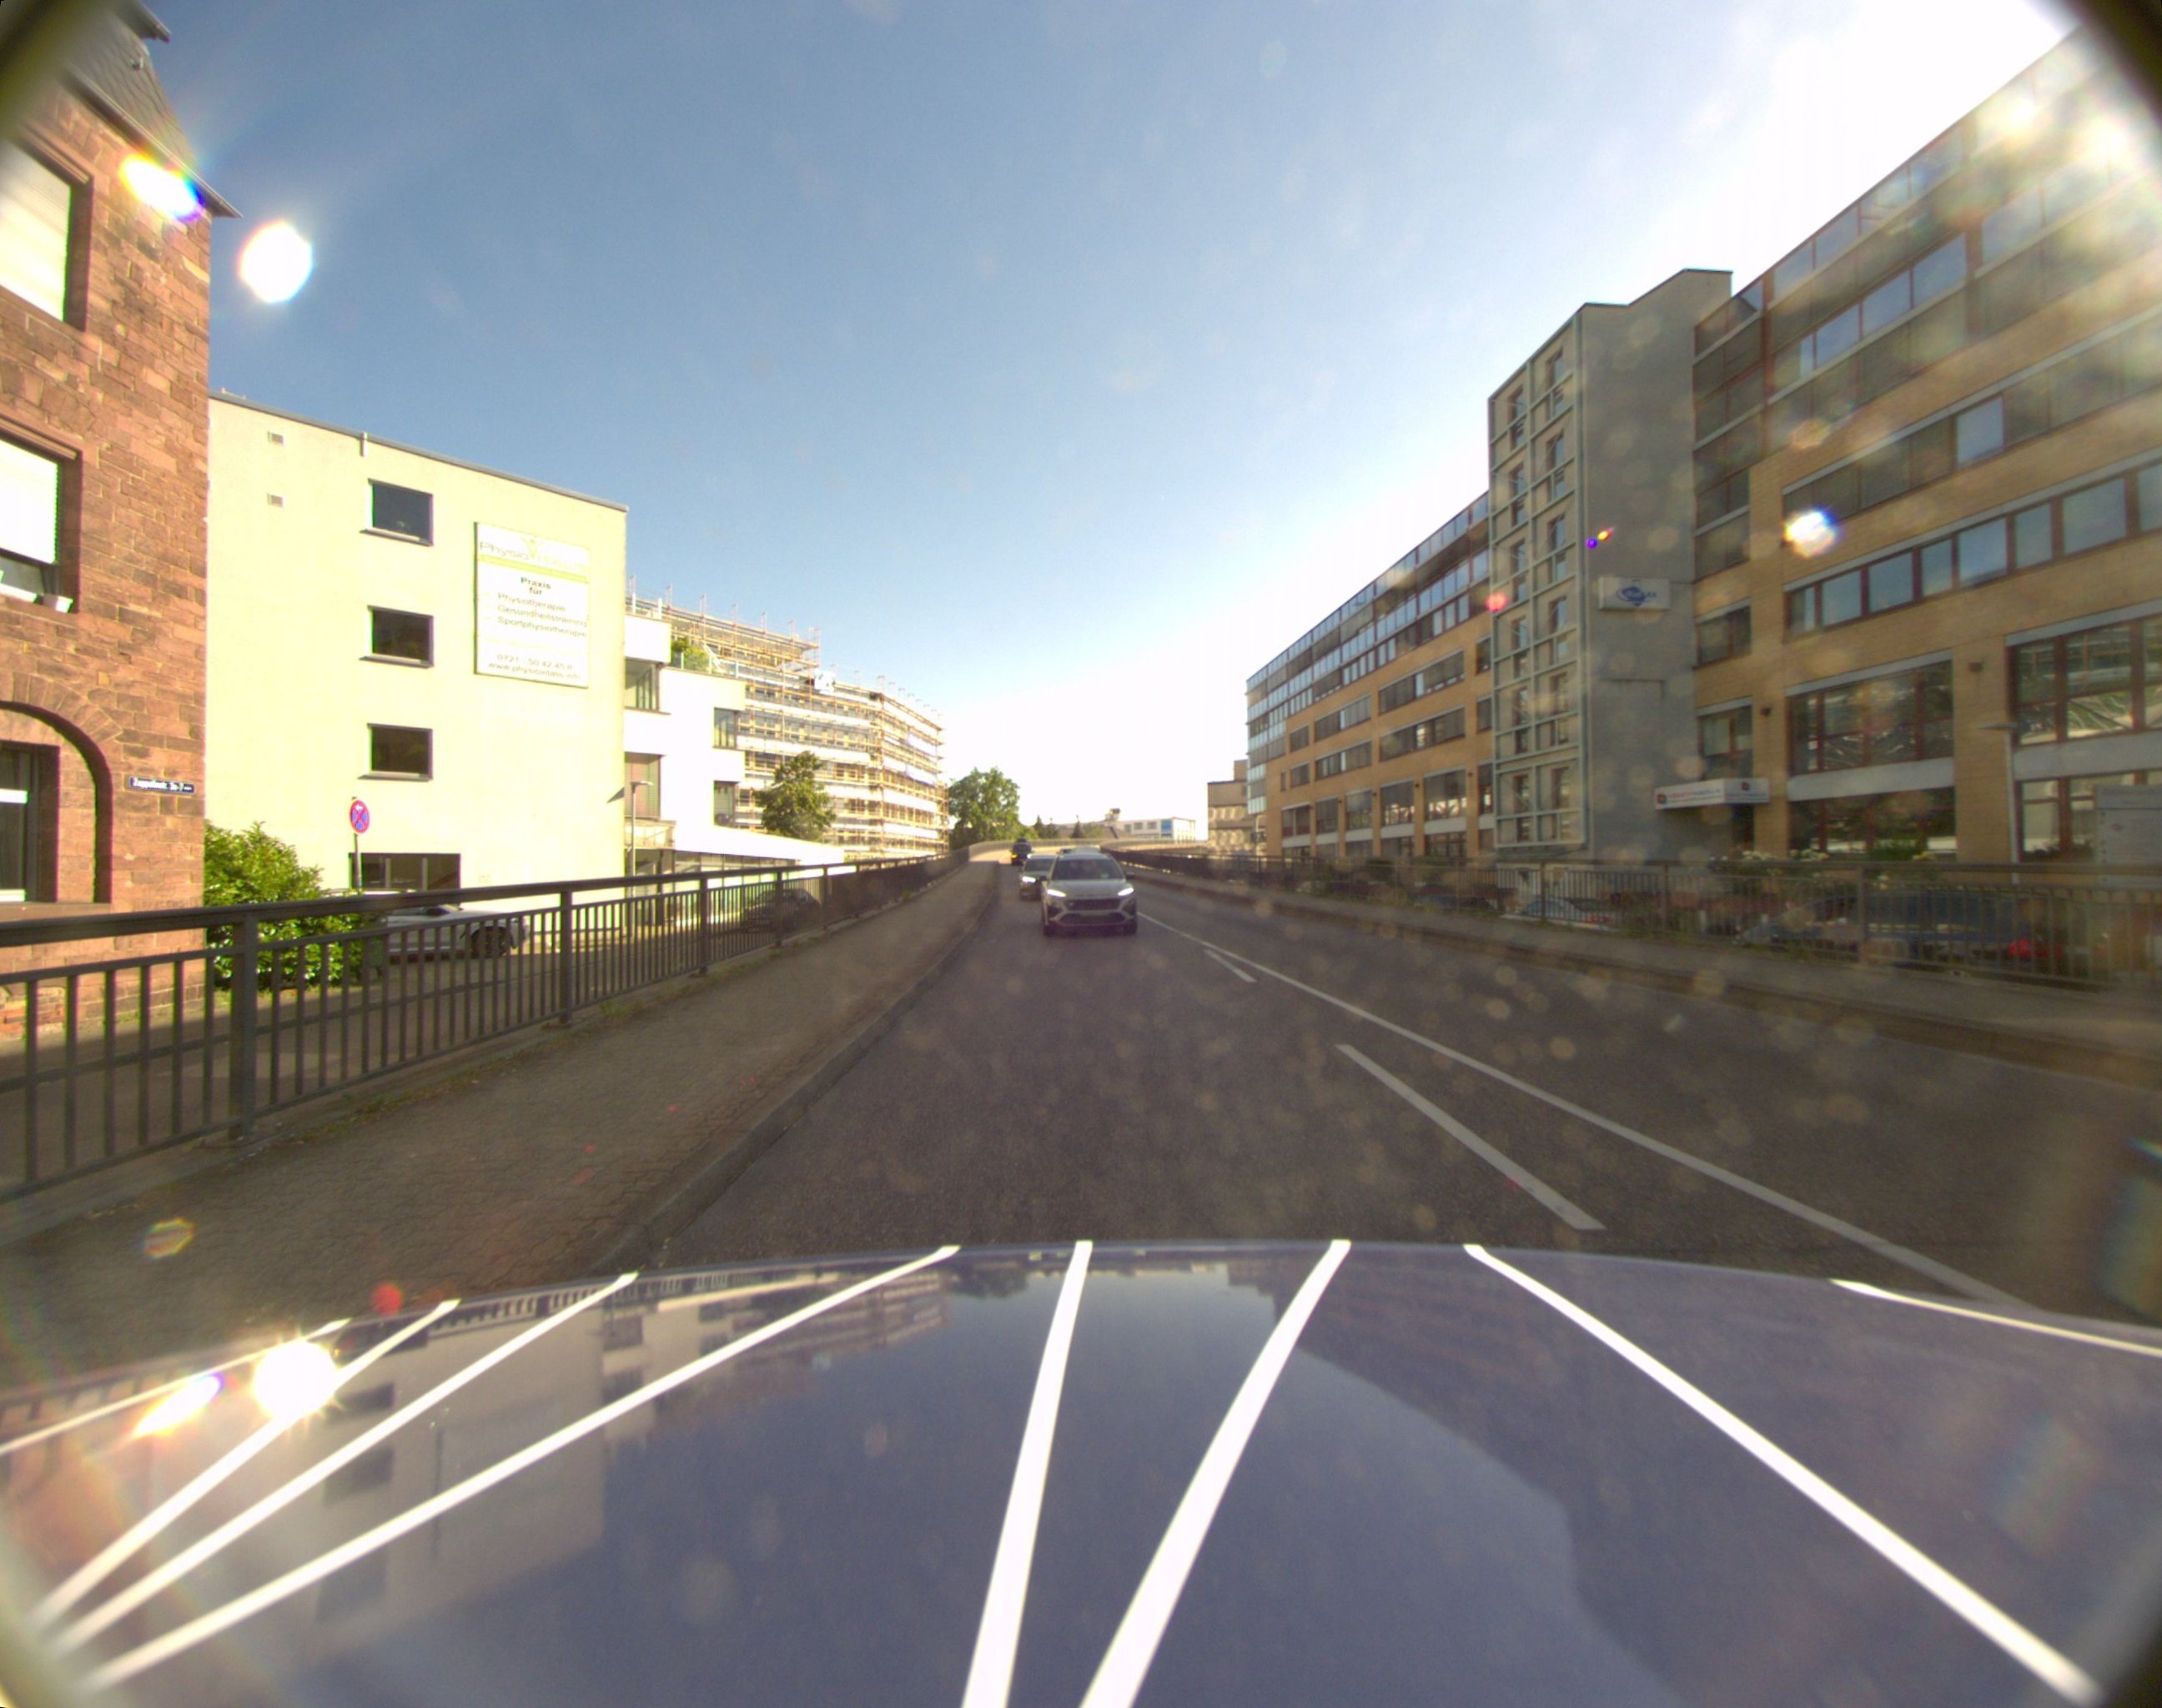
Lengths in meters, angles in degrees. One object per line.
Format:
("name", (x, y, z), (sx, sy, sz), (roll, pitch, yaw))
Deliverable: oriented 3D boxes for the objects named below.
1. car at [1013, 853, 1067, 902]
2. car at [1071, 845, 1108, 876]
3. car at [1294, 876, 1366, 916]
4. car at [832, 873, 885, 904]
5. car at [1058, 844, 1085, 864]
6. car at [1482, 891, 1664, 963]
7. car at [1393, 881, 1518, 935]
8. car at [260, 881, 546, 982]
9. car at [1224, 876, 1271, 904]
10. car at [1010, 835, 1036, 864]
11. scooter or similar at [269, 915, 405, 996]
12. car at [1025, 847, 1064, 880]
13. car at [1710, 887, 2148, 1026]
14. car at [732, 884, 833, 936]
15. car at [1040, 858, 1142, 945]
("car", (-1.433, 0.752, 26.721), (1.721, 1.483, 4.167), (-1, 1, -3))
("car", (0.449, 0.394, 45.936), (1.815, 1.790, 5.119), (0, -1, -4))
("car", (11.824, 1.953, 36.372), (1.999, 1.714, 3.999), (0, -1, -3))
("car", (-11.991, 1.821, 41.207), (1.849, 1.526, 3.999), (0, -1, -3))
("car", (-0.806, -0.011, 62.556), (1.825, 1.594, 3.998), (-2, 0, -6))
("car", (13.106, 1.867, 20.630), (1.825, 1.594, 4.355), (0, -1, -6))
("car", (12.698, 1.791, 26.132), (1.825, 1.594, 4.355), (0, -1, -6))
("car", (-15.278, 1.624, 17.423), (4.658, 1.757, 1.823), (-2, 1, -43))
("car", (10.518, 2.221, 48.291), (1.999, 1.652, 3.999), (0, -1, -3))
("car", (-4.884, -0.403, 63.559), (1.910, 2.202, 4.594), (-1, 3, -6))
("scooter or similar", (-12.889, 1.743, 13.208), (1.462, 1.212, 0.785), (-3, 0, -10))
("car", (-1.877, 0.448, 39.015), (1.849, 1.527, 4.506), (-1, 1, -3))
("car", (13.838, 1.522, 12.968), (1.957, 1.747, 4.685), (-1, -1, -7))
("car", (-10.572, 1.917, 27.301), (1.849, 1.422, 4.681), (-1, 1, -2))
("car", (0.082, 0.880, 16.100), (1.849, 1.561, 4.220), (-1, 0, -3))
